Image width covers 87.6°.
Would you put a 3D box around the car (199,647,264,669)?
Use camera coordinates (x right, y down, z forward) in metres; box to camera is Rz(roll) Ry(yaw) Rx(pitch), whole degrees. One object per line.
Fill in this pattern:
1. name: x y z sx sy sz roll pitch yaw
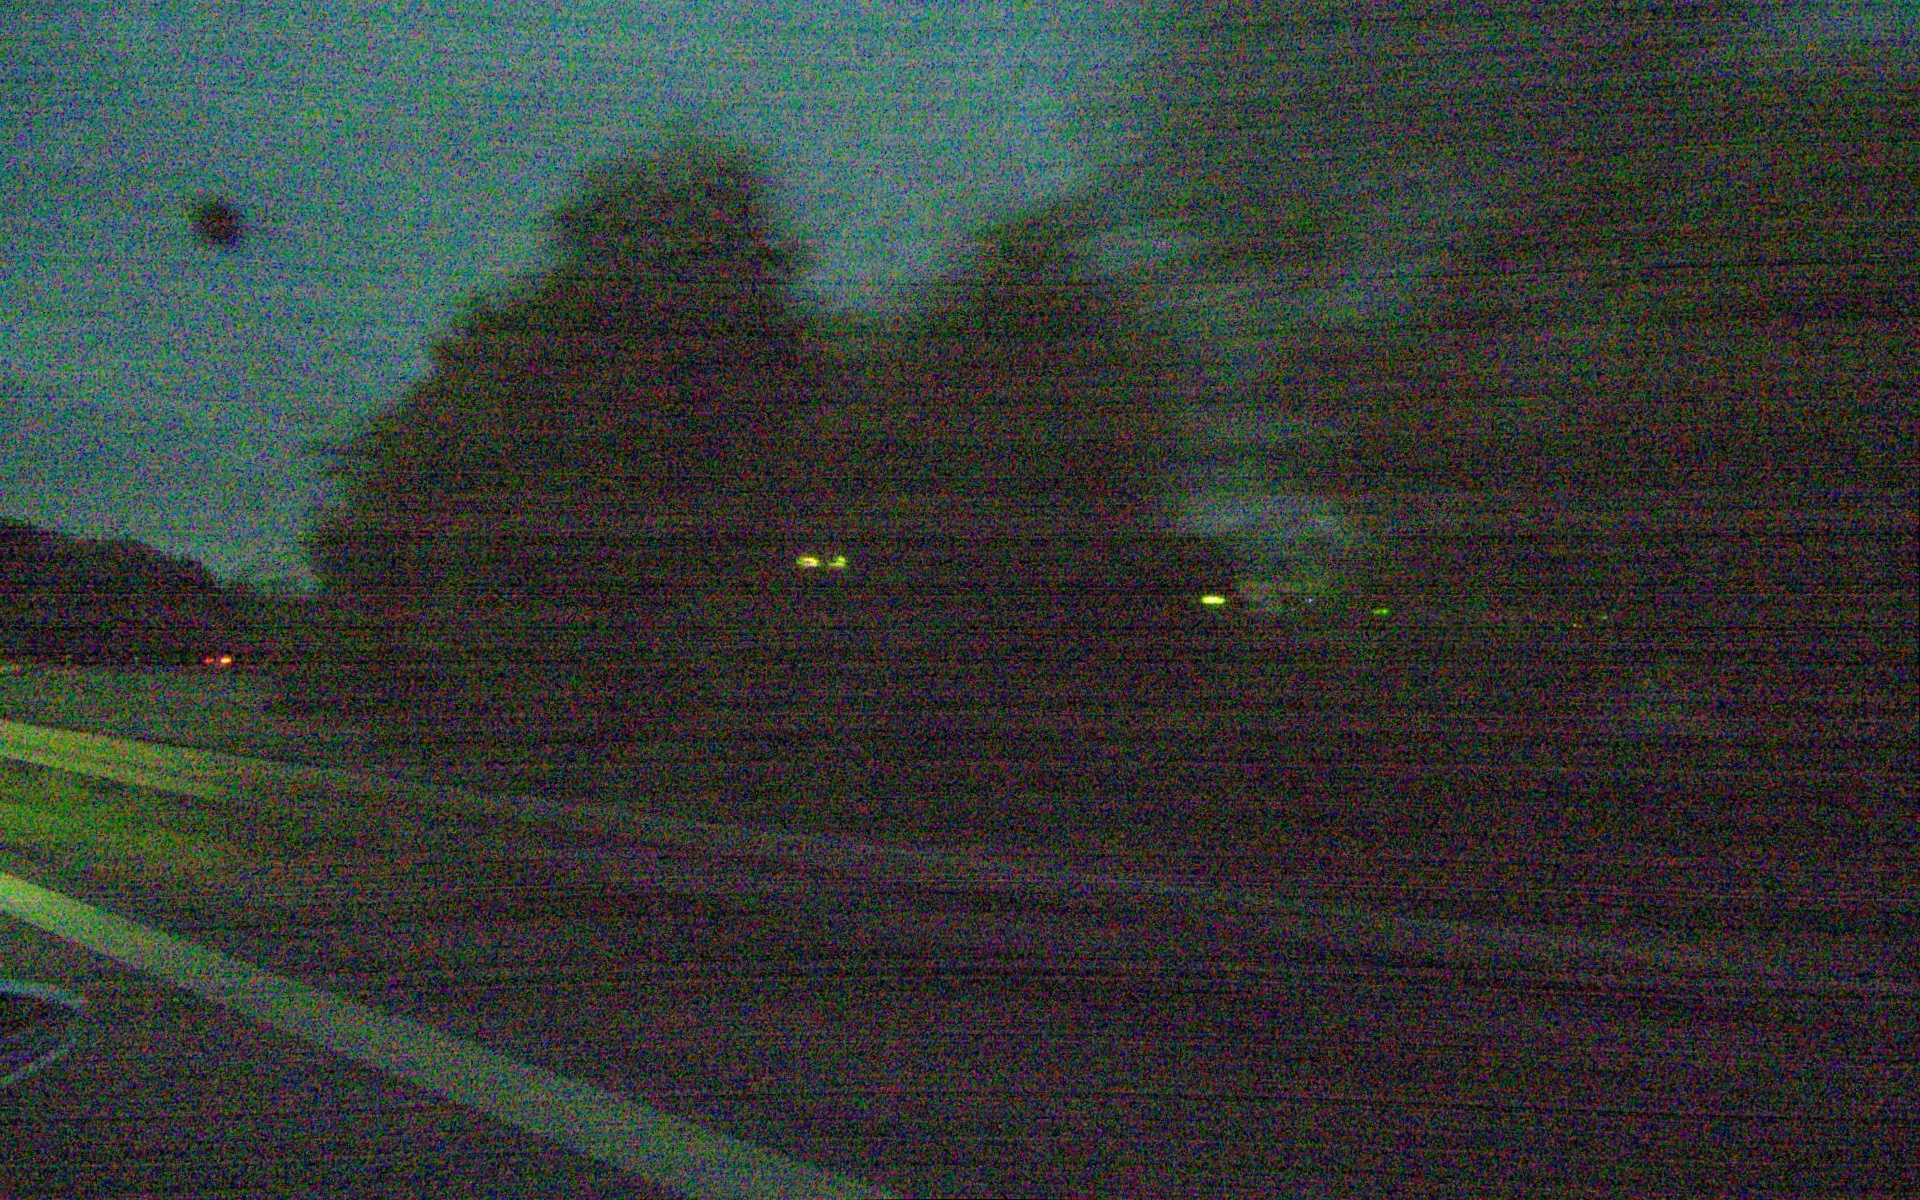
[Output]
1. car: -58.842 4.675 80.956 1.961 1.618 4.002 1 -3 8
